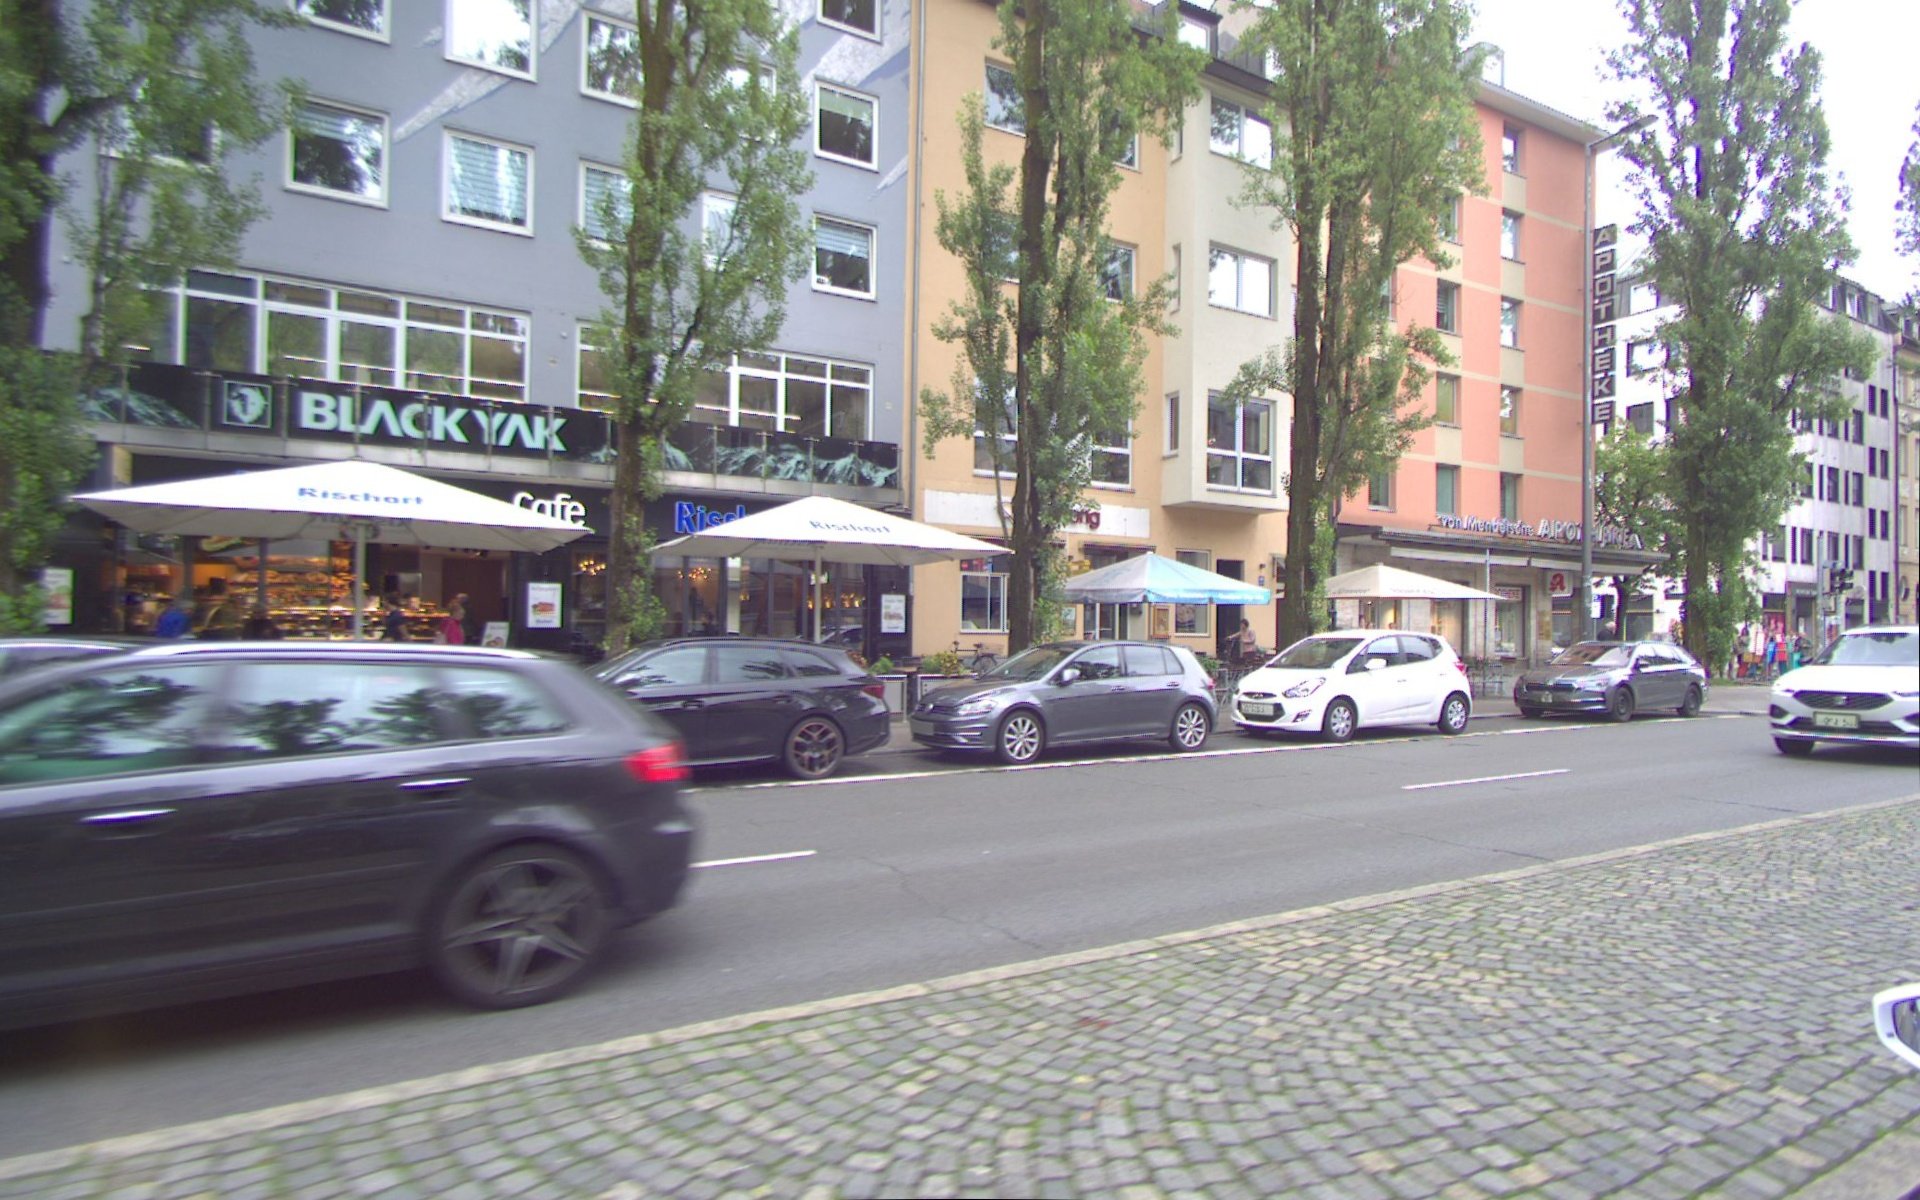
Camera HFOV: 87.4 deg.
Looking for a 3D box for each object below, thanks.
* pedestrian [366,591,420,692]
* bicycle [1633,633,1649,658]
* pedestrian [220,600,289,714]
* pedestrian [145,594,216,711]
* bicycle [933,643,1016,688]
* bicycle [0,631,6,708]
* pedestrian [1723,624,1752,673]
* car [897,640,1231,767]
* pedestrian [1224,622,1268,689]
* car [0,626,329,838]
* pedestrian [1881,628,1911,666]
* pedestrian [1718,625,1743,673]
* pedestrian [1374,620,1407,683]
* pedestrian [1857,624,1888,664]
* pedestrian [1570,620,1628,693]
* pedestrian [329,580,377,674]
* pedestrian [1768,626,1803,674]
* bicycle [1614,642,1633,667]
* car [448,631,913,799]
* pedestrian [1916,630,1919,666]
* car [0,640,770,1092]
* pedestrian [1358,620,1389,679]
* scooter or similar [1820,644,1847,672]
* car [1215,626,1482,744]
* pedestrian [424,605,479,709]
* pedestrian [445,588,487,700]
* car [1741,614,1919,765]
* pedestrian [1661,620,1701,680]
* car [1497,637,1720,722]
[{"bbox_3d":[-9.639,0.700,17.100,0.746,1.662,0.738,1,-1,-28],"label":"pedestrian"},{"bbox_3d":[32.941,2.176,48.584,0.410,1.199,1.999,0,-2,41],"label":"bicycle"},{"bbox_3d":[-10.339,0.820,14.753,0.734,1.623,0.750,1,-1,-31],"label":"pedestrian"},{"bbox_3d":[-12.283,0.814,15.846,0.747,1.778,0.737,1,-1,-29],"label":"pedestrian"},{"bbox_3d":[0.346,1.504,23.262,1.932,1.015,0.440,1,-1,-28],"label":"bicycle"},{"bbox_3d":[-14.812,1.009,14.410,1.569,1.111,0.611,2,-1,-41],"label":"bicycle"},{"bbox_3d":[27.797,1.745,35.902,0.513,1.711,0.627,2,0,-28],"label":"pedestrian"},{"bbox_3d":[1.381,1.229,12.736,4.136,1.399,1.487,2,-3,-29],"label":"car"},{"bbox_3d":[7.421,1.422,26.081,0.793,1.690,0.777,1,-1,-30],"label":"pedestrian"},{"bbox_3d":[-7.414,0.948,7.639,4.320,1.485,1.669,2,-3,-31],"label":"car"},{"bbox_3d":[42.923,2.160,46.077,0.966,1.704,0.728,1,0,-30],"label":"pedestrian"},{"bbox_3d":[28.097,1.774,36.618,0.508,1.713,0.584,1,-1,-29],"label":"pedestrian"},{"bbox_3d":[12.091,1.434,28.214,0.684,1.740,0.552,1,-1,-30],"label":"pedestrian"},{"bbox_3d":[42.475,2.048,46.737,0.901,1.811,0.796,1,1,-29],"label":"pedestrian"},{"bbox_3d":[16.385,1.439,25.763,0.975,1.819,0.736,2,0,-11],"label":"pedestrian"},{"bbox_3d":[-12.139,0.539,20.120,0.733,1.828,0.778,1,-1,-27],"label":"pedestrian"},{"bbox_3d":[31.426,1.909,38.248,0.931,1.763,0.723,2,0,-30],"label":"pedestrian"},{"bbox_3d":[32.910,2.679,49.816,0.444,1.199,2.050,0,-2,44],"label":"bicycle"},{"bbox_3d":[-2.811,1.080,10.429,4.381,1.431,1.695,2,-3,-30],"label":"car"},{"bbox_3d":[42.896,2.133,44.307,0.977,1.588,0.747,2,0,-28],"label":"pedestrian"},{"bbox_3d":[-3.046,0.869,4.089,4.126,1.379,1.828,1,-4,-30],"label":"car"},{"bbox_3d":[11.862,1.422,28.818,0.684,1.660,0.552,1,-1,-30],"label":"pedestrian"},{"bbox_3d":[36.209,2.398,41.644,0.271,1.107,0.809,2,0,-33],"label":"scooter or similar"},{"bbox_3d":[6.018,1.255,15.482,4.047,1.604,1.695,2,-3,-30],"label":"car"},{"bbox_3d":[-8.194,0.897,16.202,0.746,1.623,0.738,1,-1,-28],"label":"pedestrian"},{"bbox_3d":[-10.138,0.892,20.604,0.684,2.241,0.777,1,-1,-30],"label":"pedestrian"},{"bbox_3d":[12.218,1.065,12.897,4.520,1.657,1.836,1,-3,-29],"label":"car"},{"bbox_3d":[21.862,1.498,30.464,0.768,1.794,0.721,1,-1,-28],"label":"pedestrian"},{"bbox_3d":[12.408,1.464,19.160,4.536,1.457,1.695,2,-3,-30],"label":"car"}]
